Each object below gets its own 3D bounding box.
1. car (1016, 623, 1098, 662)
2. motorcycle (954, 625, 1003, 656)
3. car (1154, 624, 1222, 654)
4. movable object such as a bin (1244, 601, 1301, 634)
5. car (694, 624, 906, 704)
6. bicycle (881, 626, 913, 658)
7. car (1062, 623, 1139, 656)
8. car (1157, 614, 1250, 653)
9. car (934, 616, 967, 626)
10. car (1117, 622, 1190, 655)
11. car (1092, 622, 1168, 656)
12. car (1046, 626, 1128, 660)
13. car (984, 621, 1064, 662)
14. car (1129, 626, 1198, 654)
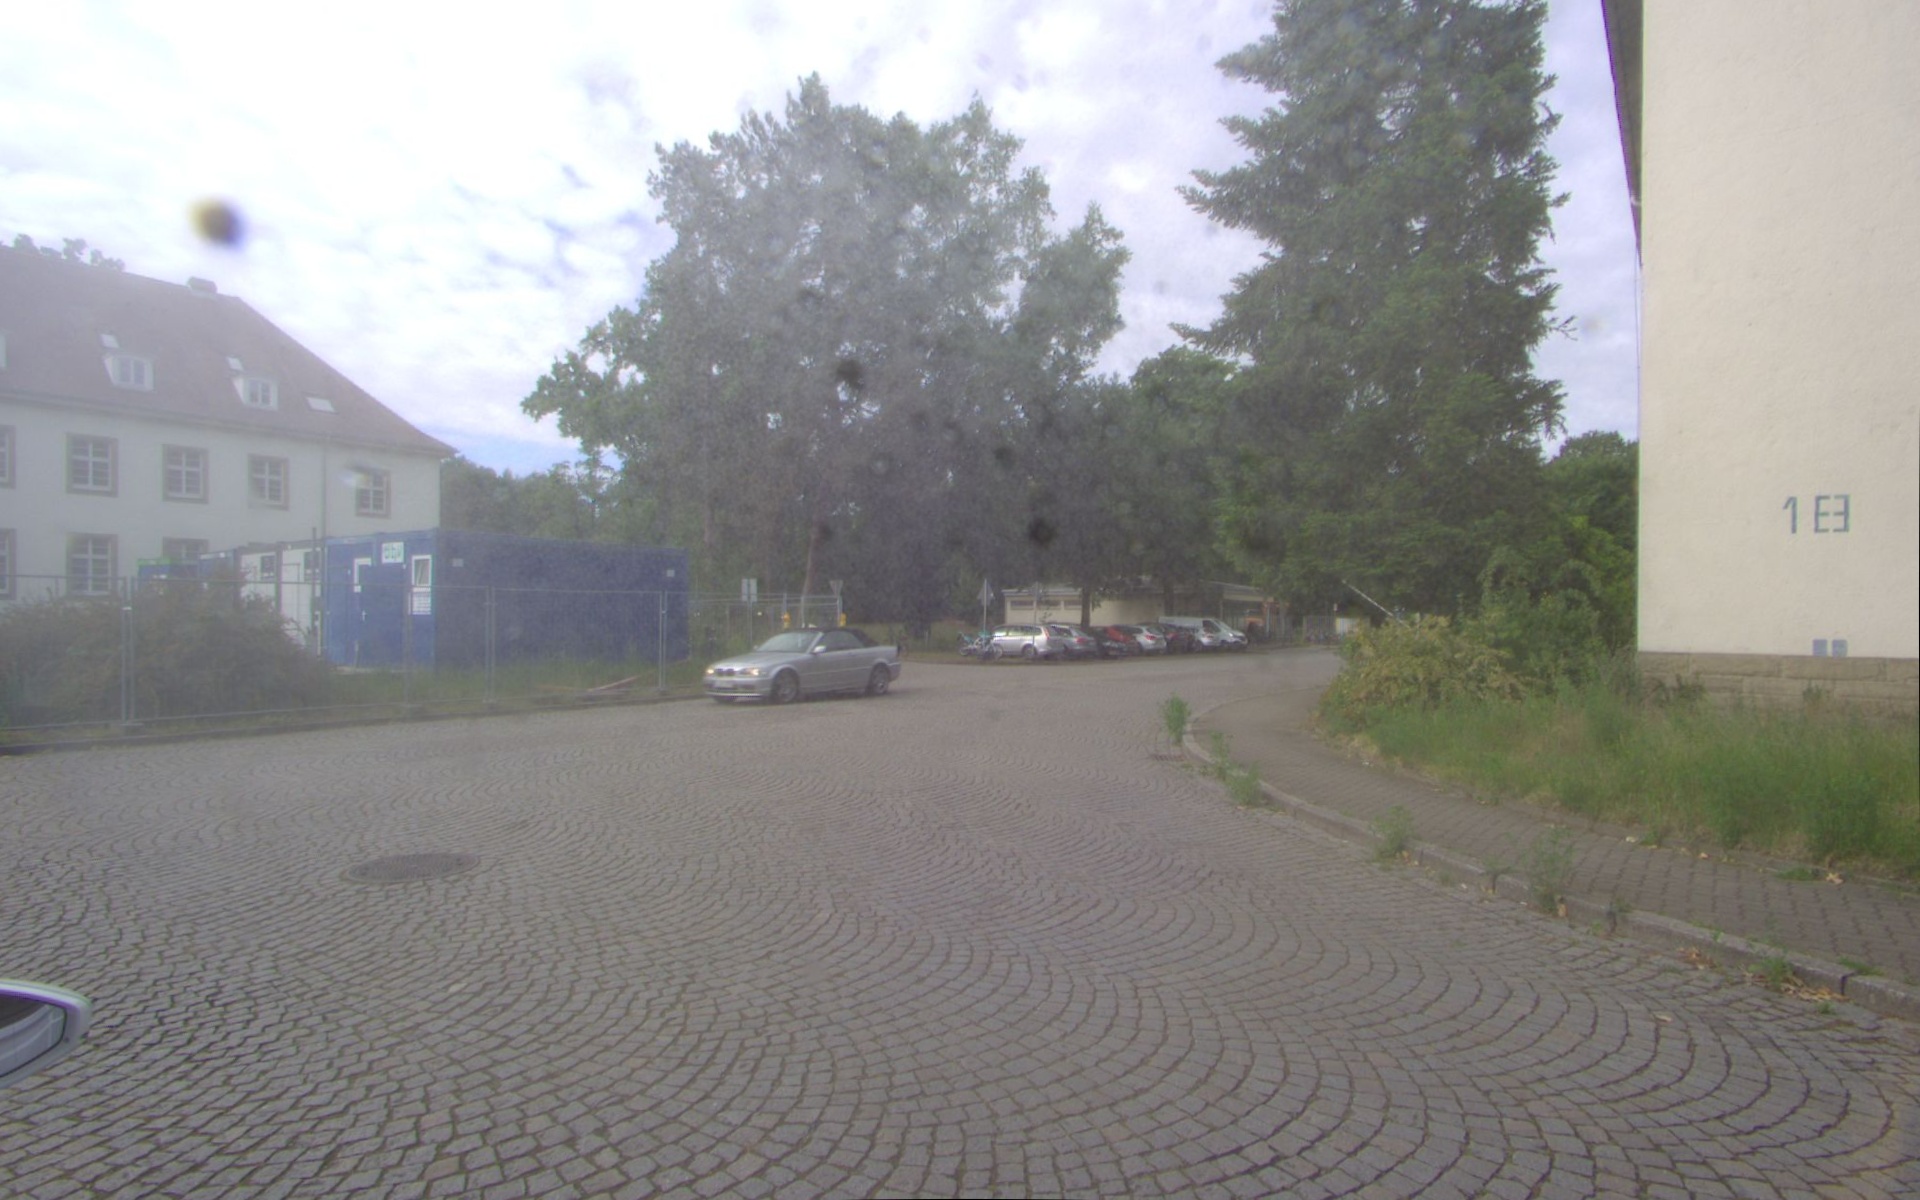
[{"bbox_3d":[4.147,1.785,42.860,3.171,1.467,1.384,2,0,28],"label":"car"},{"bbox_3d":[0.711,1.593,39.563,1.936,1.180,0.516,0,0,31],"label":"motorcycle"},{"bbox_3d":[12.691,2.149,55.676,3.317,1.425,1.558,2,0,32],"label":"car"},{"bbox_3d":[31.719,1.770,101.806,5.214,3.315,2.000,0,-1,4],"label":"movable object such as a bin"},{"bbox_3d":[-2.967,1.174,19.416,1.585,1.363,4.270,-2,-2,34],"label":"car"},{"bbox_3d":[-2.429,1.598,38.414,0.507,1.182,1.795,0,-1,-30],"label":"bicycle"},{"bbox_3d":[6.697,1.882,47.826,3.320,1.379,1.439,2,0,36],"label":"car"},{"bbox_3d":[14.061,1.904,57.964,4.891,2.017,1.687,2,0,37],"label":"car"},{"bbox_3d":[-0.932,2.169,102.904,3.326,1.078,1.256,0,-1,2],"label":"car"},{"bbox_3d":[9.974,1.949,51.570,3.317,1.533,1.558,2,0,32],"label":"car"},{"bbox_3d":[8.337,1.884,49.136,3.314,1.462,1.559,2,0,29],"label":"car"},{"bbox_3d":[5.726,1.915,45.154,3.313,1.338,1.635,2,0,28],"label":"car"},{"bbox_3d":[2.627,1.687,41.121,2.978,1.508,1.318,2,0,28],"label":"car"},{"bbox_3d":[10.902,2.113,53.778,3.317,1.336,1.467,2,0,32],"label":"car"}]
